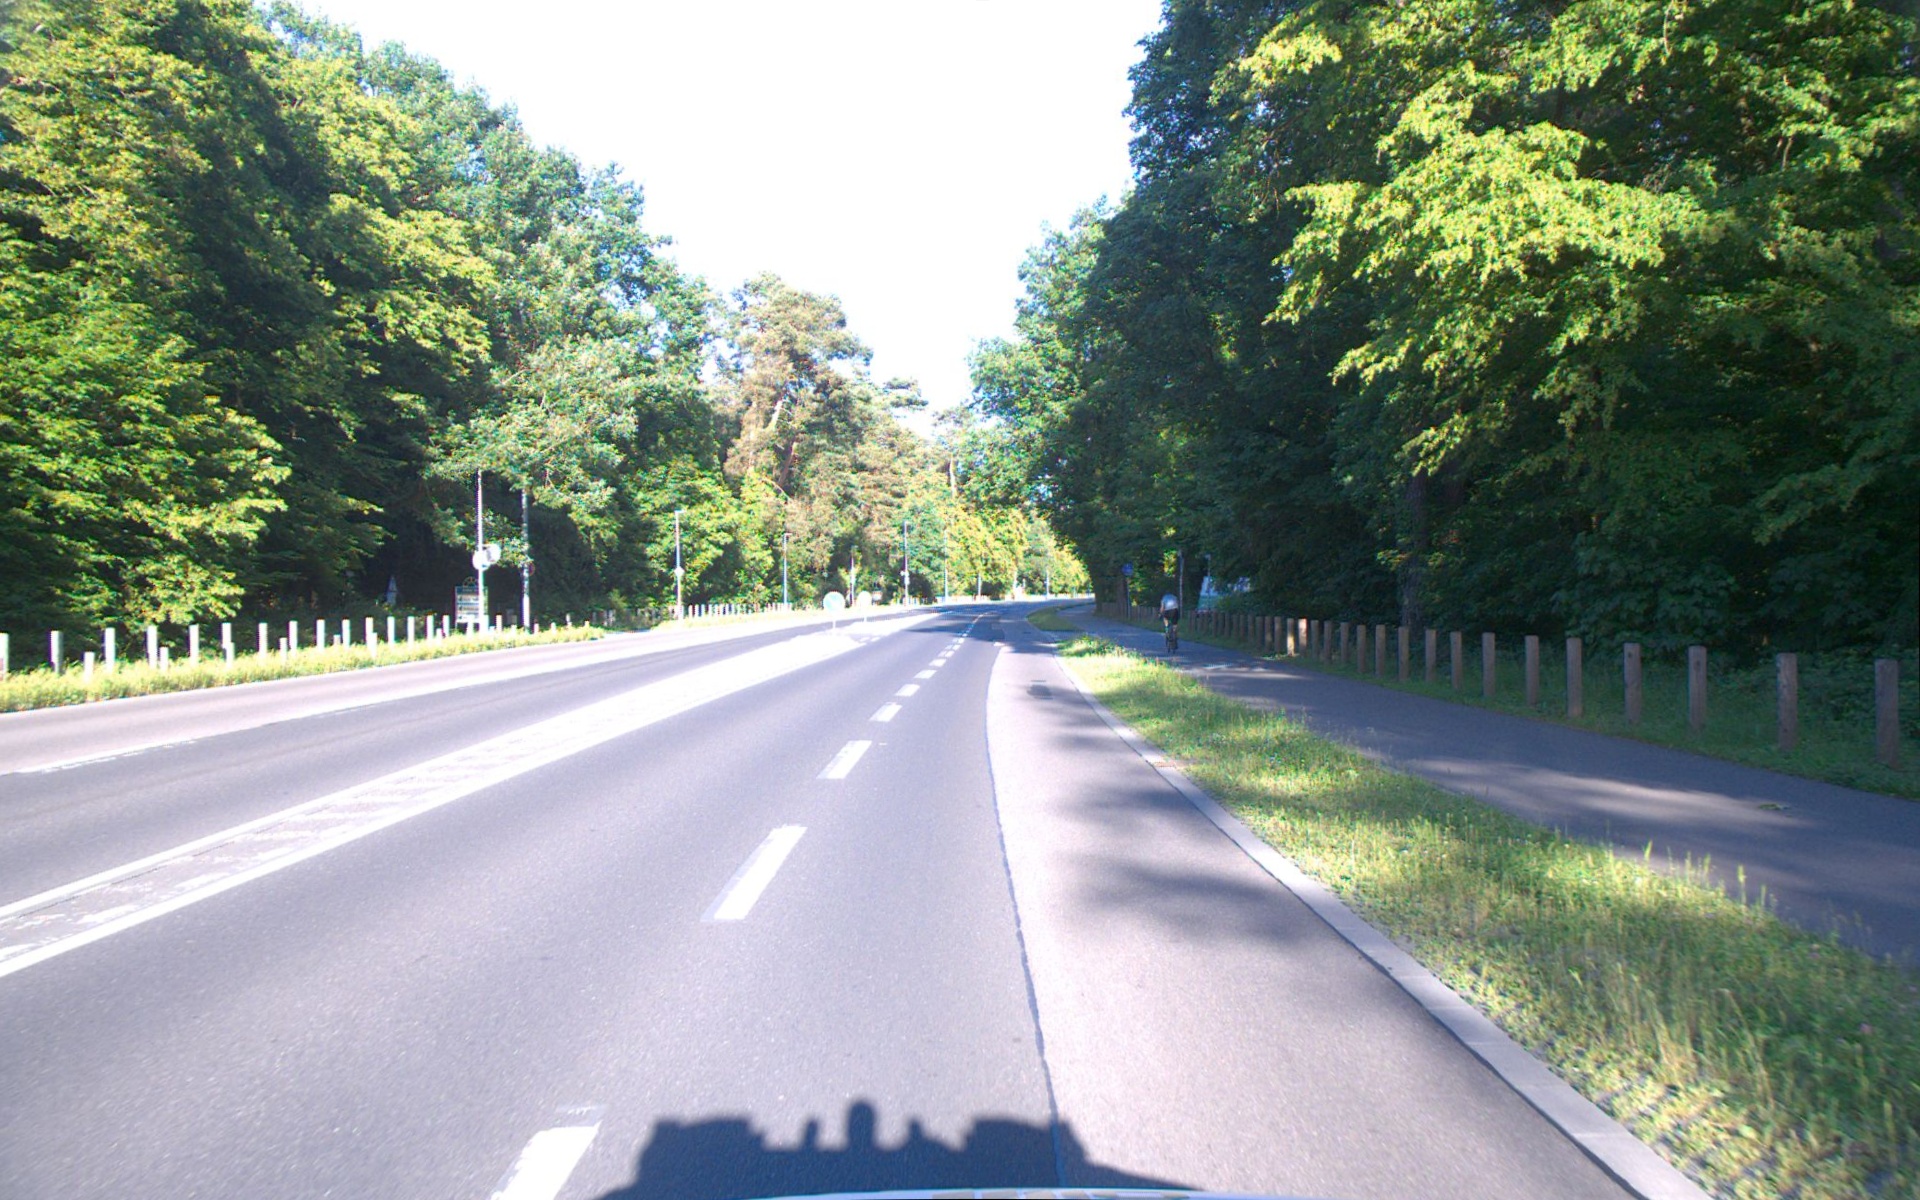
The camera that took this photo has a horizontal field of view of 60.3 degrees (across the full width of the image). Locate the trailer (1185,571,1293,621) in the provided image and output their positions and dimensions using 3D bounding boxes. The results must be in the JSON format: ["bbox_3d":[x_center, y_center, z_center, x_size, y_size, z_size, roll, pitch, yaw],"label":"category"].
[{"bbox_3d":[11.875,-0.153,70.645,4.152,2.057,1.988,-1,0,43],"label":"trailer"}]

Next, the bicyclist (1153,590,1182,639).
[{"bbox_3d":[5.635,0.388,44.959,0.697,1.311,1.105,0,0,2],"label":"bicyclist"}]

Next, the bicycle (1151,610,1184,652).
[{"bbox_3d":[5.629,0.834,44.908,0.697,1.074,2.053,0,0,2],"label":"bicycle"}]
